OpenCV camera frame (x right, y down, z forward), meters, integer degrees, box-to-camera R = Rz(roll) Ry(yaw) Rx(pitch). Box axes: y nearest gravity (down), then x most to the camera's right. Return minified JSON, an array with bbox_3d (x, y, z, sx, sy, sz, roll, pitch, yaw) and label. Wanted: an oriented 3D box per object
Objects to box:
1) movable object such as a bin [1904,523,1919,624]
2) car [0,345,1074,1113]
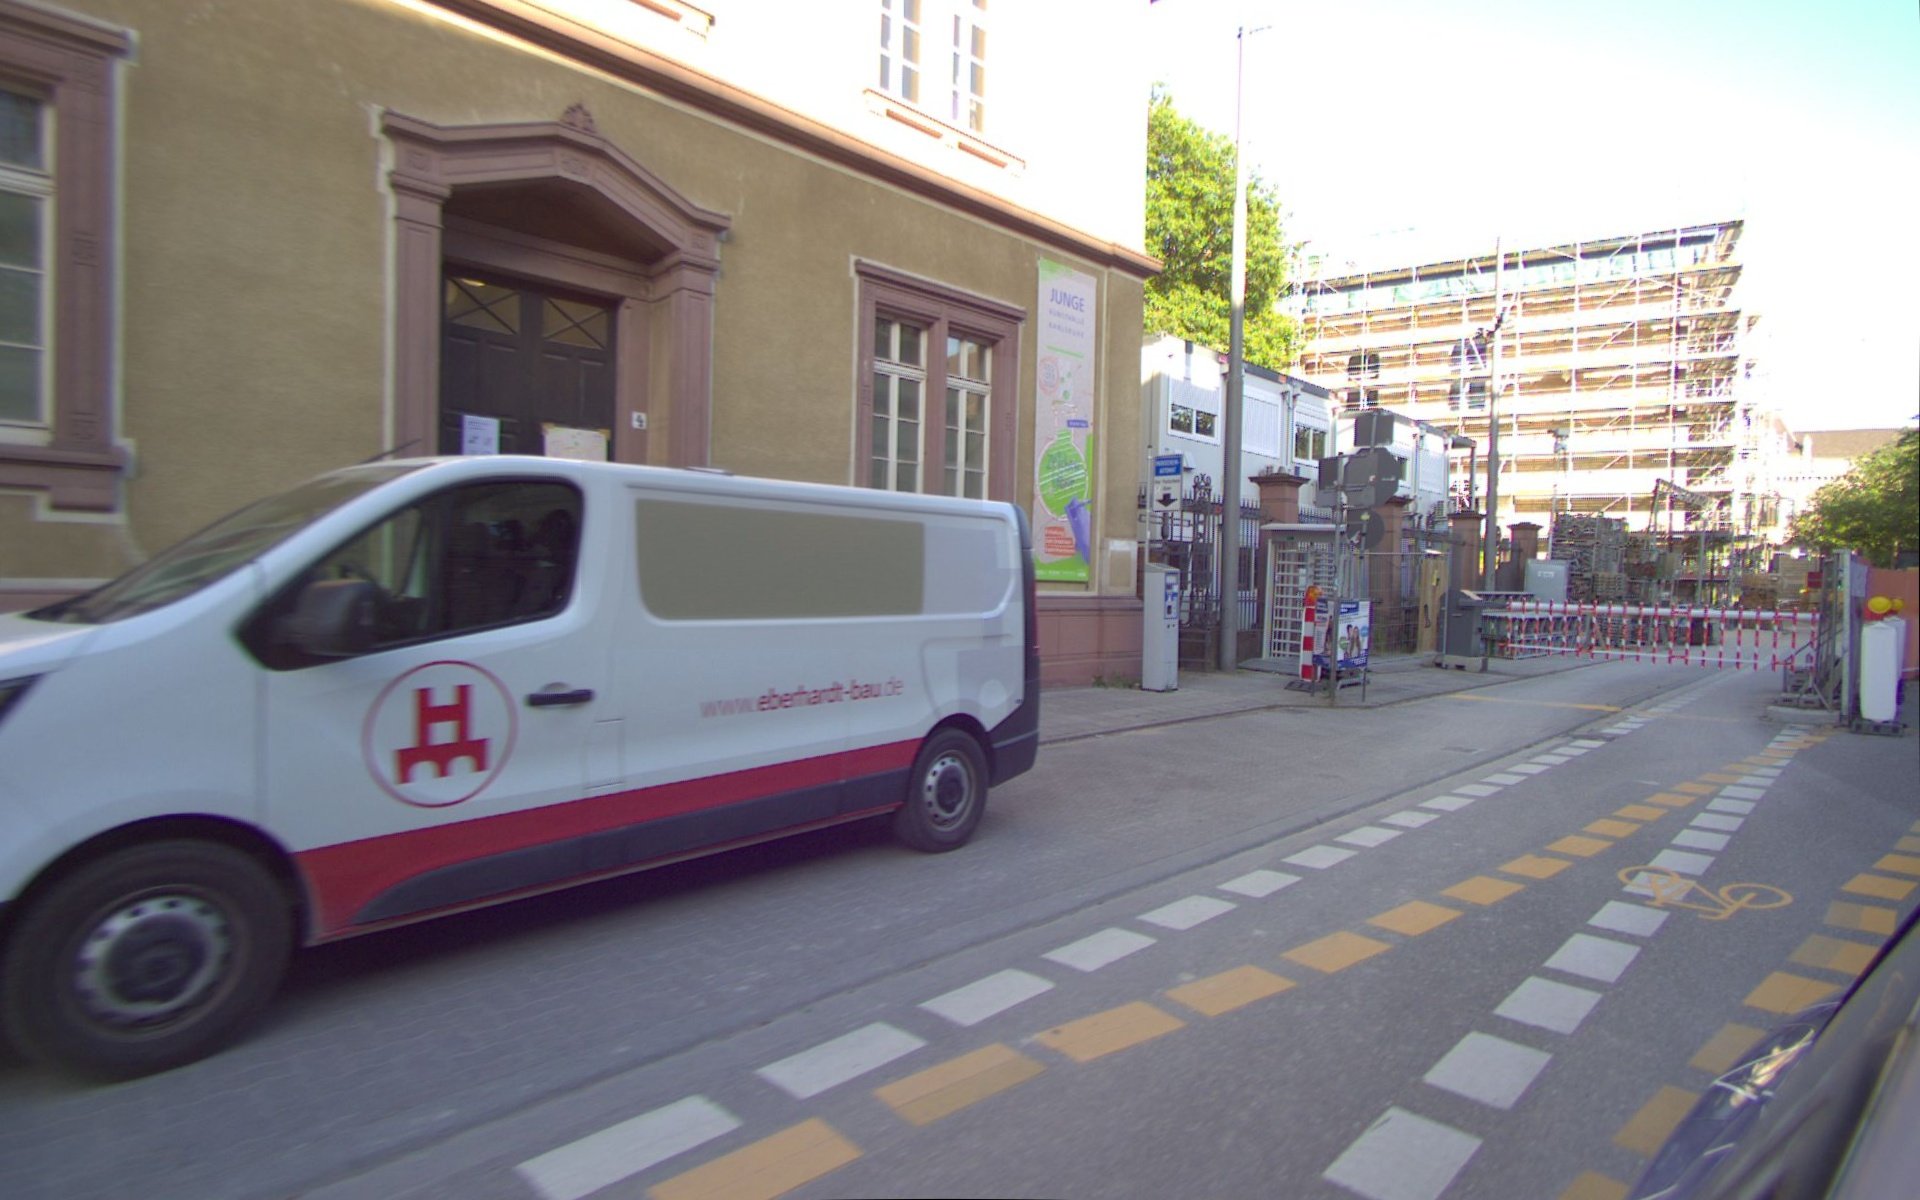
[{"bbox_3d":[33.986,-0.826,34.013,3.163,3.340,4.317,4,3,43],"label":"movable object such as a bin"},{"bbox_3d":[-1.839,0.285,4.814,2.013,1.969,5.399,1,1,42],"label":"car"}]
